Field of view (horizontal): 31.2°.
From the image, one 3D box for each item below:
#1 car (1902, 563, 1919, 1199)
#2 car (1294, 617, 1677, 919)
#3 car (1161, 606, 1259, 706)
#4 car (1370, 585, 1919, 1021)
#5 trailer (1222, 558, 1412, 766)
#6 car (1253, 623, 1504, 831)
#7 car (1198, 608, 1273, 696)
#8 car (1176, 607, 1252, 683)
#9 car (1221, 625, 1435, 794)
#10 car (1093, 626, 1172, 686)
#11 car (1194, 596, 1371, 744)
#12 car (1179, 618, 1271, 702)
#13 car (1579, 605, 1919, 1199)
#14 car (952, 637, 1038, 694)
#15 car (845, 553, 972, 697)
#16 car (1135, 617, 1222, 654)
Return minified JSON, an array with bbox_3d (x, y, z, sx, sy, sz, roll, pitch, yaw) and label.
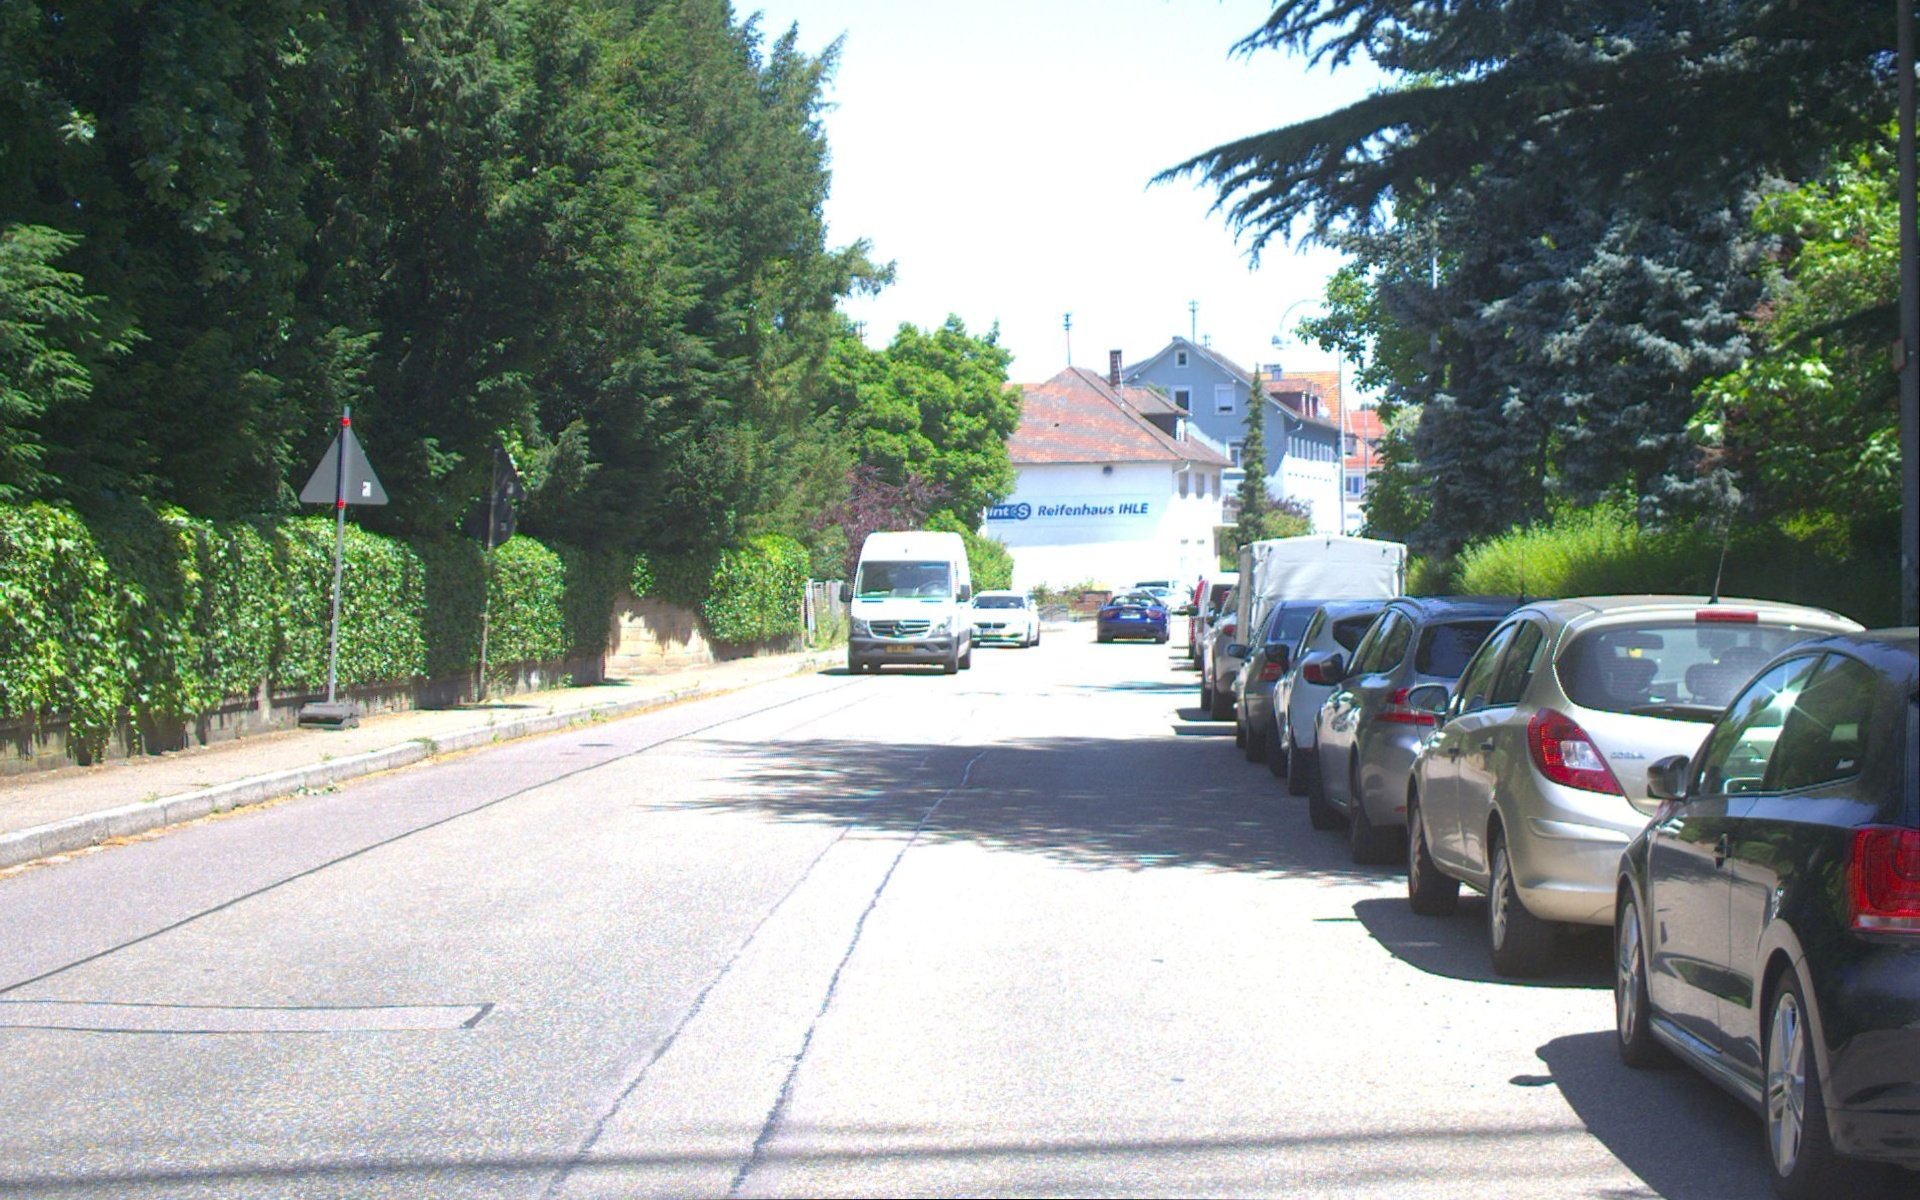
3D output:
[{"bbox_3d":[2.620,0.715,4.628,1.581,1.570,4.008,1,0,0],"label":"car"},{"bbox_3d":[2.923,0.878,19.942,1.614,1.446,4.374,3,0,2],"label":"car"},{"bbox_3d":[4.736,1.061,65.483,1.746,1.776,4.542,2,-1,4],"label":"car"},{"bbox_3d":[2.826,0.790,14.640,1.614,1.507,4.064,3,-1,0],"label":"car"},{"bbox_3d":[3.766,0.640,36.727,1.680,2.061,3.708,2,0,2],"label":"trailer"},{"bbox_3d":[3.152,0.925,26.542,1.614,1.464,4.063,1,-1,3],"label":"car"},{"bbox_3d":[4.910,0.928,61.095,1.261,1.490,2.708,2,-1,5],"label":"car"},{"bbox_3d":[6.600,1.163,89.264,1.903,1.918,4.717,0,-1,4],"label":"car"},{"bbox_3d":[3.263,0.967,31.118,1.614,1.391,4.258,1,-1,2],"label":"car"},{"bbox_3d":[4.790,1.561,94.930,1.795,1.505,3.998,2,-2,7],"label":"car"},{"bbox_3d":[3.824,0.808,41.351,1.771,1.626,4.604,2,0,2],"label":"car"},{"bbox_3d":[5.846,1.324,75.763,1.903,1.722,4.390,2,-1,5],"label":"car"},{"bbox_3d":[2.787,0.783,9.521,1.582,1.438,4.007,3,0,4],"label":"car"},{"bbox_3d":[0.927,1.664,88.406,1.864,1.379,4.603,1,0,5],"label":"car"},{"bbox_3d":[-0.900,0.494,63.729,1.994,2.524,5.893,1,-1,2],"label":"car"},{"bbox_3d":[10.915,1.772,171.443,4.130,1.768,1.828,1,0,9],"label":"car"}]
